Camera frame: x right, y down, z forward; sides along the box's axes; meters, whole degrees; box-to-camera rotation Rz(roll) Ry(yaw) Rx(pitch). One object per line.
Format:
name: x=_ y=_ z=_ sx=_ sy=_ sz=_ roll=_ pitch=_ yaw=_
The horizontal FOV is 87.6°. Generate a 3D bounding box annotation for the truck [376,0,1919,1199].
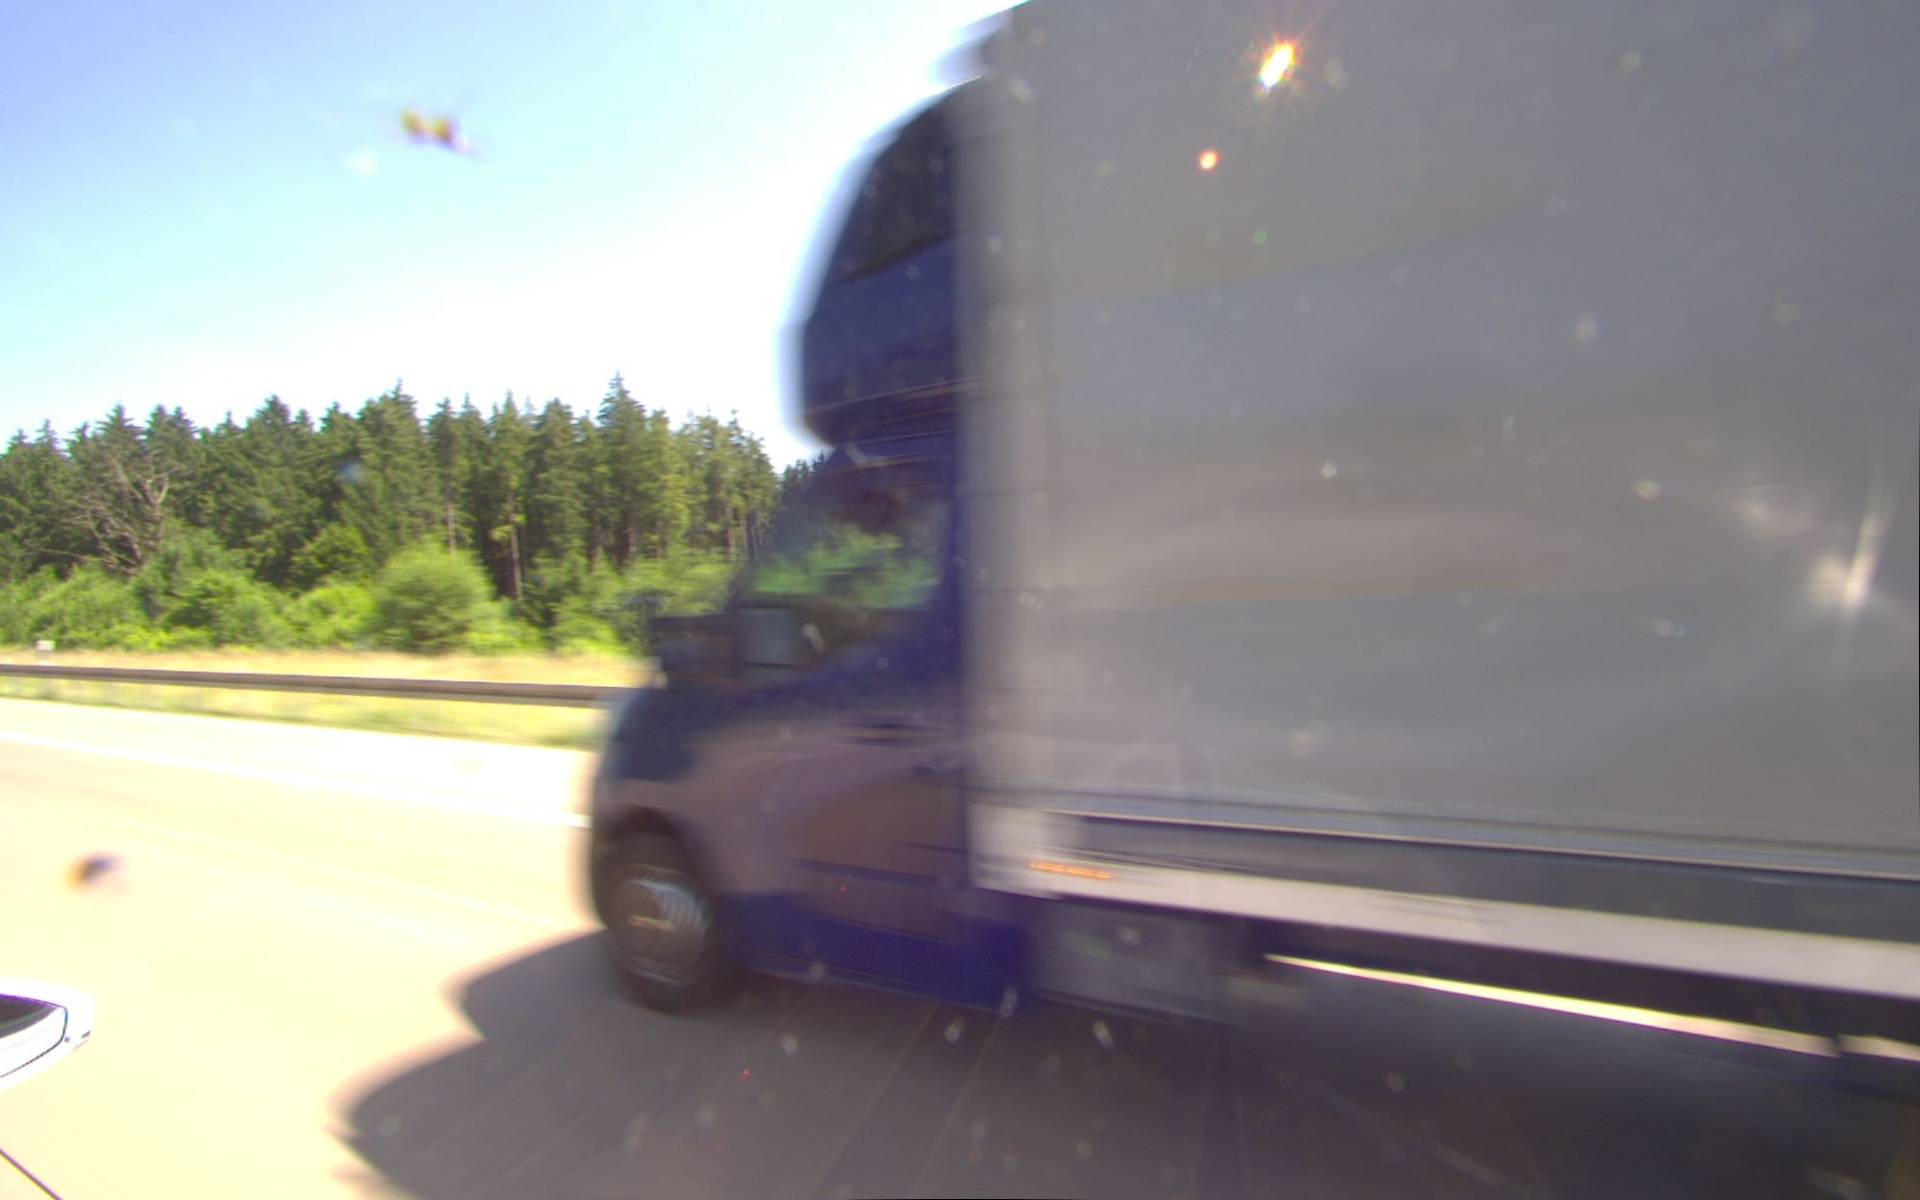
truck: x=1.429 y=-0.109 z=3.317 sx=7.671 sy=3.260 sz=2.498 roll=-1 pitch=-1 yaw=31
